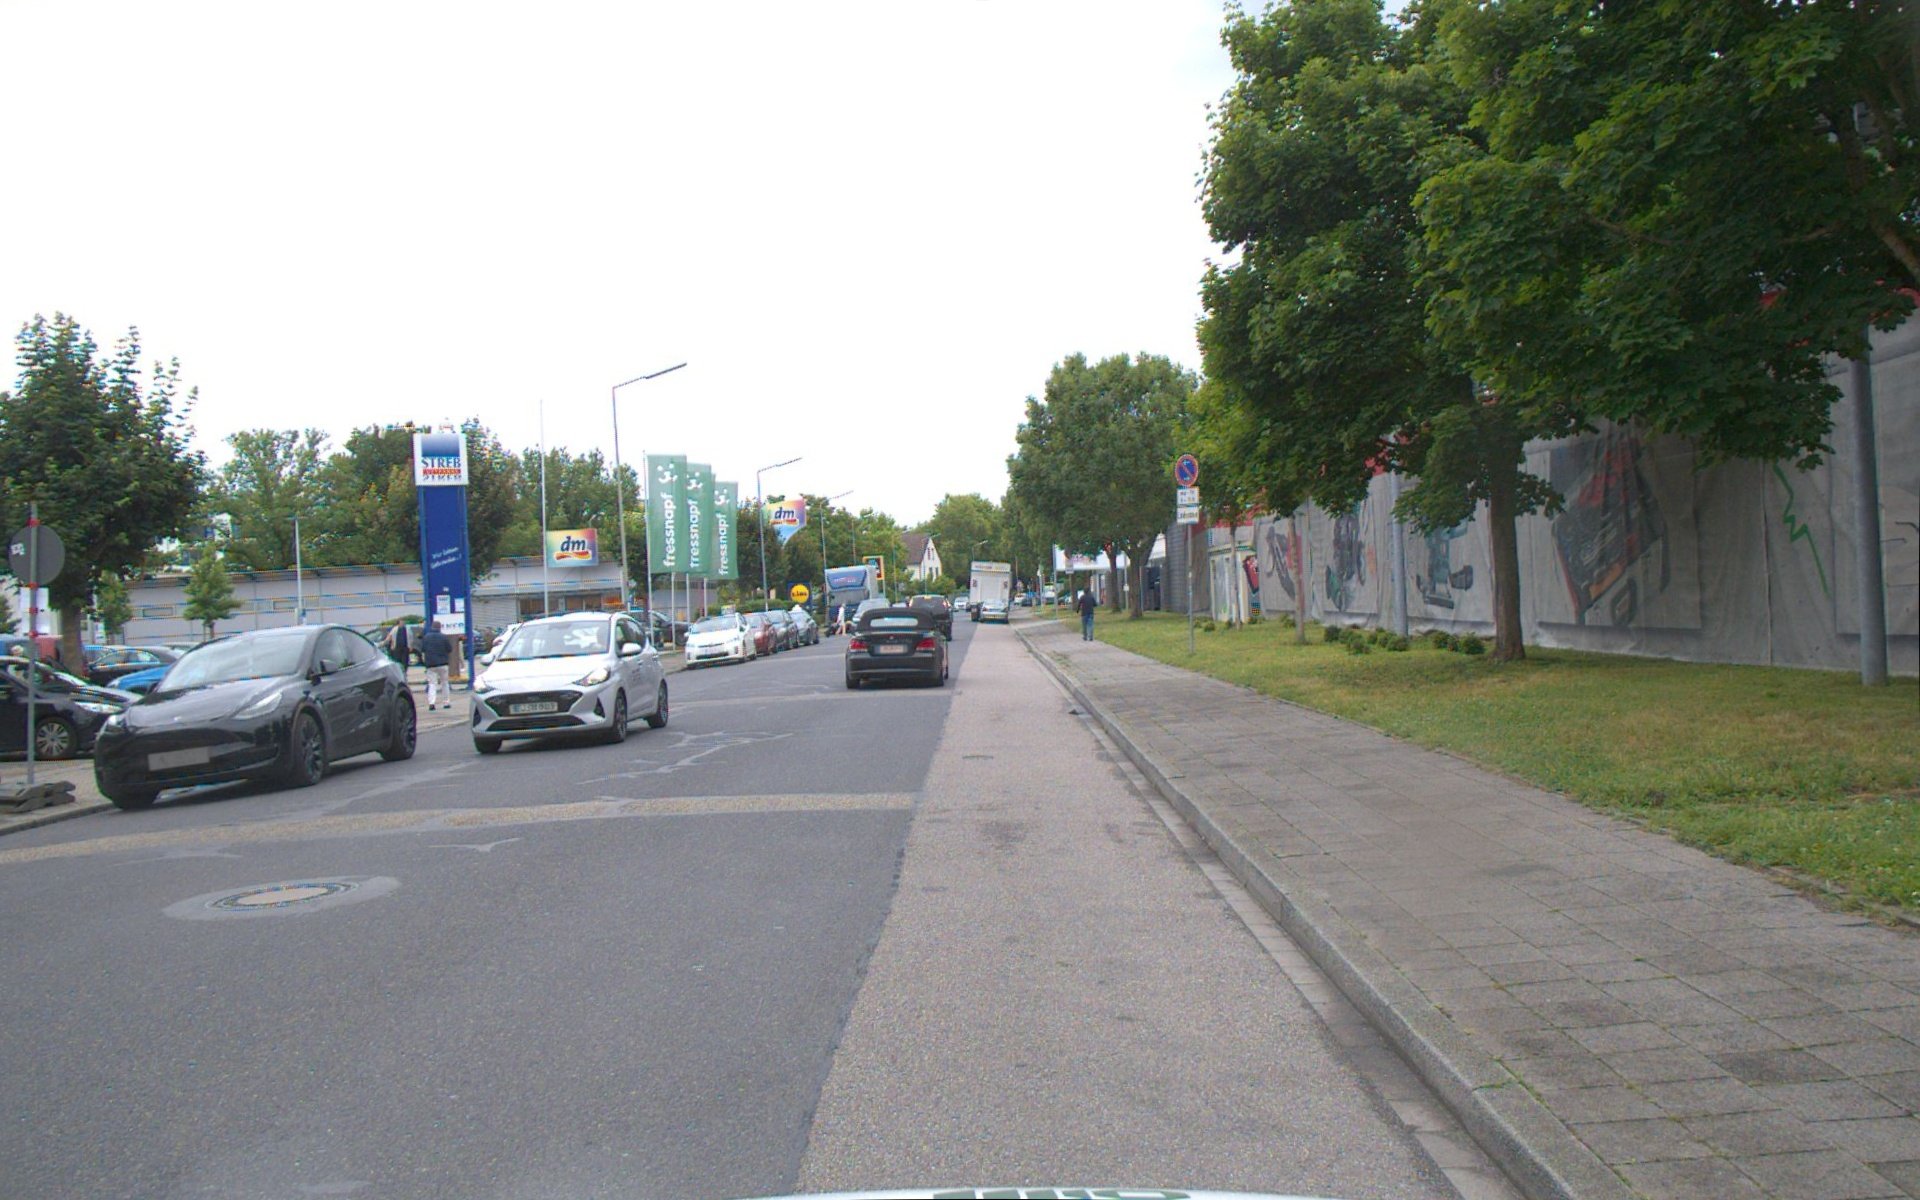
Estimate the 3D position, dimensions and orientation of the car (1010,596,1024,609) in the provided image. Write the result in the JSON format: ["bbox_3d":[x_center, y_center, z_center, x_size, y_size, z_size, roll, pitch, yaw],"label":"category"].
[{"bbox_3d":[7.641,0.292,221.274,1.847,1.713,4.255,-1,0,2],"label":"car"}]

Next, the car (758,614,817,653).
[{"bbox_3d":[-7.041,1.347,67.784,1.859,1.391,4.000,-3,0,1],"label":"car"}]

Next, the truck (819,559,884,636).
[{"bbox_3d":[-6.185,-0.144,95.410,2.913,4.024,6.406,-4,0,1],"label":"truck"}]

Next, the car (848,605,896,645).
[{"bbox_3d":[-3.944,1.108,74.658,1.953,1.713,3.999,-2,-1,0],"label":"car"}]

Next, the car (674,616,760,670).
[{"bbox_3d":[-7.261,1.256,49.754,1.859,1.391,4.000,-3,0,1],"label":"car"}]

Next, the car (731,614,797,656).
[{"bbox_3d":[-7.283,1.296,61.884,1.859,1.391,4.000,-3,0,1],"label":"car"}]

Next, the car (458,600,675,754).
[{"bbox_3d":[-4.584,0.850,19.757,1.566,1.554,3.528,-5,-1,1],"label":"car"}]

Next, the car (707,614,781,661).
[{"bbox_3d":[-7.332,1.244,56.391,1.859,1.391,4.000,-3,0,1],"label":"car"}]

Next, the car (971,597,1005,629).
[{"bbox_3d":[1.669,0.796,100.494,1.953,1.837,3.999,-2,-1,0],"label":"car"}]

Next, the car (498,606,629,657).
[{"bbox_3d":[-13.639,1.058,57.012,4.055,1.488,1.897,-3,0,-5],"label":"car"}]

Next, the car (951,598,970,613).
[{"bbox_3d":[0.063,0.570,171.907,1.847,1.558,4.255,-1,0,2],"label":"car"}]

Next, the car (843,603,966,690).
[{"bbox_3d":[-0.932,0.794,29.848,1.709,1.382,4.140,-3,-1,4],"label":"car"}]

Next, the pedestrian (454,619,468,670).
[{"bbox_3d":[-15.918,1.410,52.730,0.324,1.597,0.503,-2,0,-10],"label":"pedestrian"}]

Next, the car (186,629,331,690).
[{"bbox_3d":[-23.172,1.954,54.744,3.905,1.698,1.876,-3,0,1],"label":"car"}]

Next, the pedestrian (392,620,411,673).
[{"bbox_3d":[-17.816,1.480,52.765,0.448,1.670,0.373,-3,0,-17],"label":"pedestrian"}]

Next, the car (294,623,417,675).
[{"bbox_3d":[-23.162,1.871,63.451,3.905,1.698,1.876,-3,0,1],"label":"car"}]

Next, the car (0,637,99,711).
[{"bbox_3d":[-24.313,1.935,41.944,3.905,1.698,1.876,-3,0,1],"label":"car"}]

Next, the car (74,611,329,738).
[{"bbox_3d":[-14.121,1.355,30.964,3.855,2.048,1.759,-4,0,-6],"label":"car"}]

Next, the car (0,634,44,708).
[{"bbox_3d":[-24.417,1.803,39.532,3.905,1.698,1.876,-3,0,1],"label":"car"}]

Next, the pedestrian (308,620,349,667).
[{"bbox_3d":[-29.040,1.984,76.033,1.374,2.048,1.194,-3,0,-39],"label":"pedestrian"}]

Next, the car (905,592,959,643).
[{"bbox_3d":[-1.043,0.614,59.484,1.648,1.660,3.755,-3,0,-4],"label":"car"}]

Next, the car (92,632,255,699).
[{"bbox_3d":[-23.683,1.950,49.902,3.905,1.698,1.876,-3,0,1],"label":"car"}]

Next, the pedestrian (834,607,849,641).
[{"bbox_3d":[-6.045,1.235,84.552,0.618,1.665,0.668,-3,0,0],"label":"pedestrian"}]

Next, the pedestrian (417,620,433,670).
[{"bbox_3d":[-17.104,1.433,52.890,0.352,1.597,0.503,-3,0,-10],"label":"pedestrian"}]

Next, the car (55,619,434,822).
[{"bbox_3d":[-7.197,1.119,17.218,1.908,1.552,4.402,-7,0,-1],"label":"car"}]

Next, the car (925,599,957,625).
[{"bbox_3d":[-1.206,0.761,106.689,1.847,1.558,4.255,-1,0,2],"label":"car"}]

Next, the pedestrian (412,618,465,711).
[{"bbox_3d":[-10.123,1.241,32.107,0.760,1.745,0.696,-2,0,-4],"label":"pedestrian"}]

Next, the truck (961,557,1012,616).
[{"bbox_3d":[1.686,-0.798,109.846,3.071,3.647,10.049,-2,-1,0],"label":"truck"}]

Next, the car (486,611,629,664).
[{"bbox_3d":[-12.648,1.168,52.217,4.123,1.489,1.950,-2,0,-7],"label":"car"}]

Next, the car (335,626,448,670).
[{"bbox_3d":[-23.162,1.936,67.436,3.905,1.518,1.786,-3,0,1],"label":"car"}]

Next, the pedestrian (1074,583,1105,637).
[{"bbox_3d":[4.032,0.315,51.708,0.900,1.663,0.853,-2,-1,3],"label":"pedestrian"}]

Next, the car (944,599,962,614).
[{"bbox_3d":[-0.792,0.739,186.965,1.847,1.558,4.255,-1,0,2],"label":"car"}]

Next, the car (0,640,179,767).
[{"bbox_3d":[-13.545,1.478,23.636,3.793,1.649,1.928,-2,0,1],"label":"car"}]

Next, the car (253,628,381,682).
[{"bbox_3d":[-23.688,2.019,61.008,3.905,1.698,1.876,-3,0,1],"label":"car"}]
